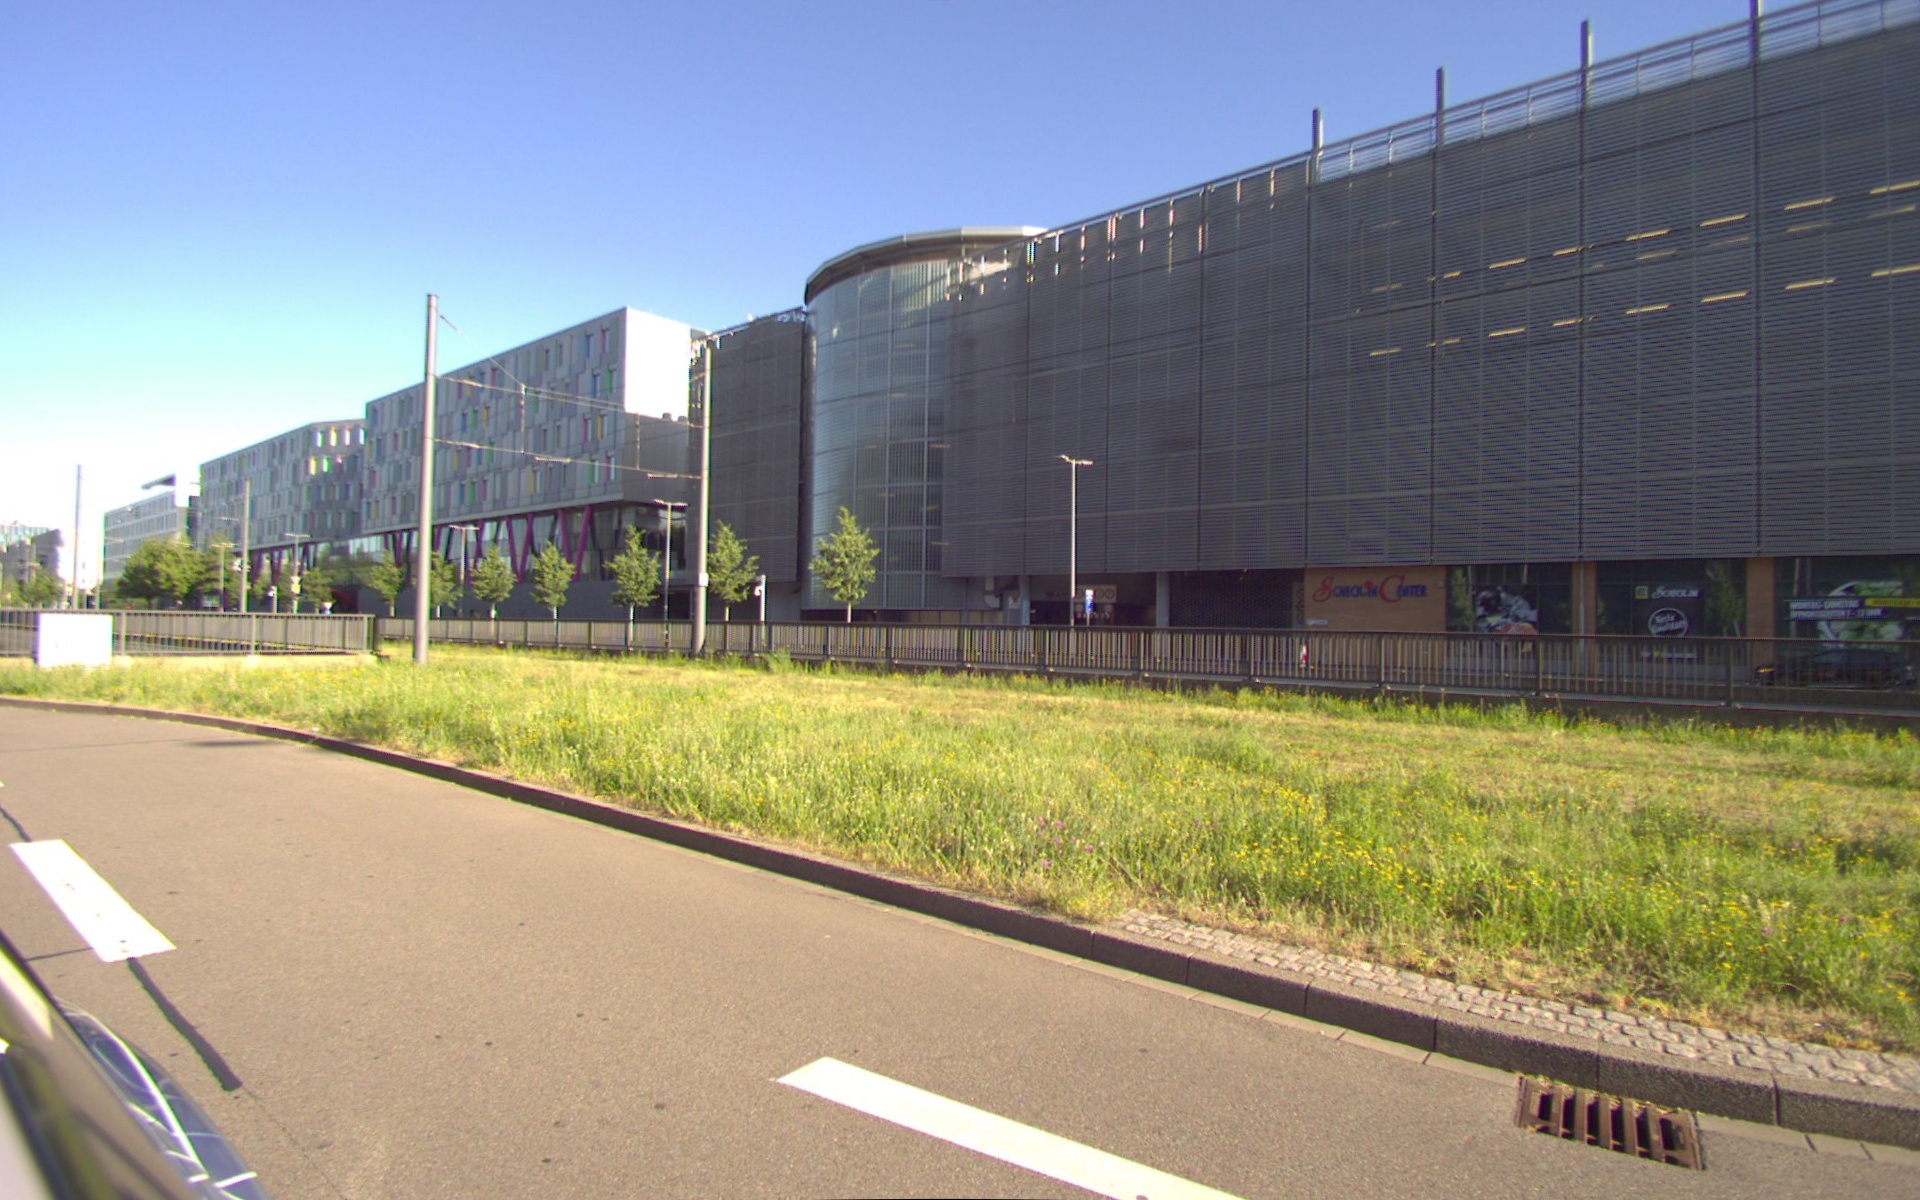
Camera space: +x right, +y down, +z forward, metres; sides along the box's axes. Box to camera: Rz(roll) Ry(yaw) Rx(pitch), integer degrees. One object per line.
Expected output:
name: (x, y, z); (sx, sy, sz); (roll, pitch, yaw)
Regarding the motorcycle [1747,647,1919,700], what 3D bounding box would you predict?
motorcycle: (27.052, 2.232, 31.432); (3.998, 1.464, 1.973); (-1, -3, 41)
